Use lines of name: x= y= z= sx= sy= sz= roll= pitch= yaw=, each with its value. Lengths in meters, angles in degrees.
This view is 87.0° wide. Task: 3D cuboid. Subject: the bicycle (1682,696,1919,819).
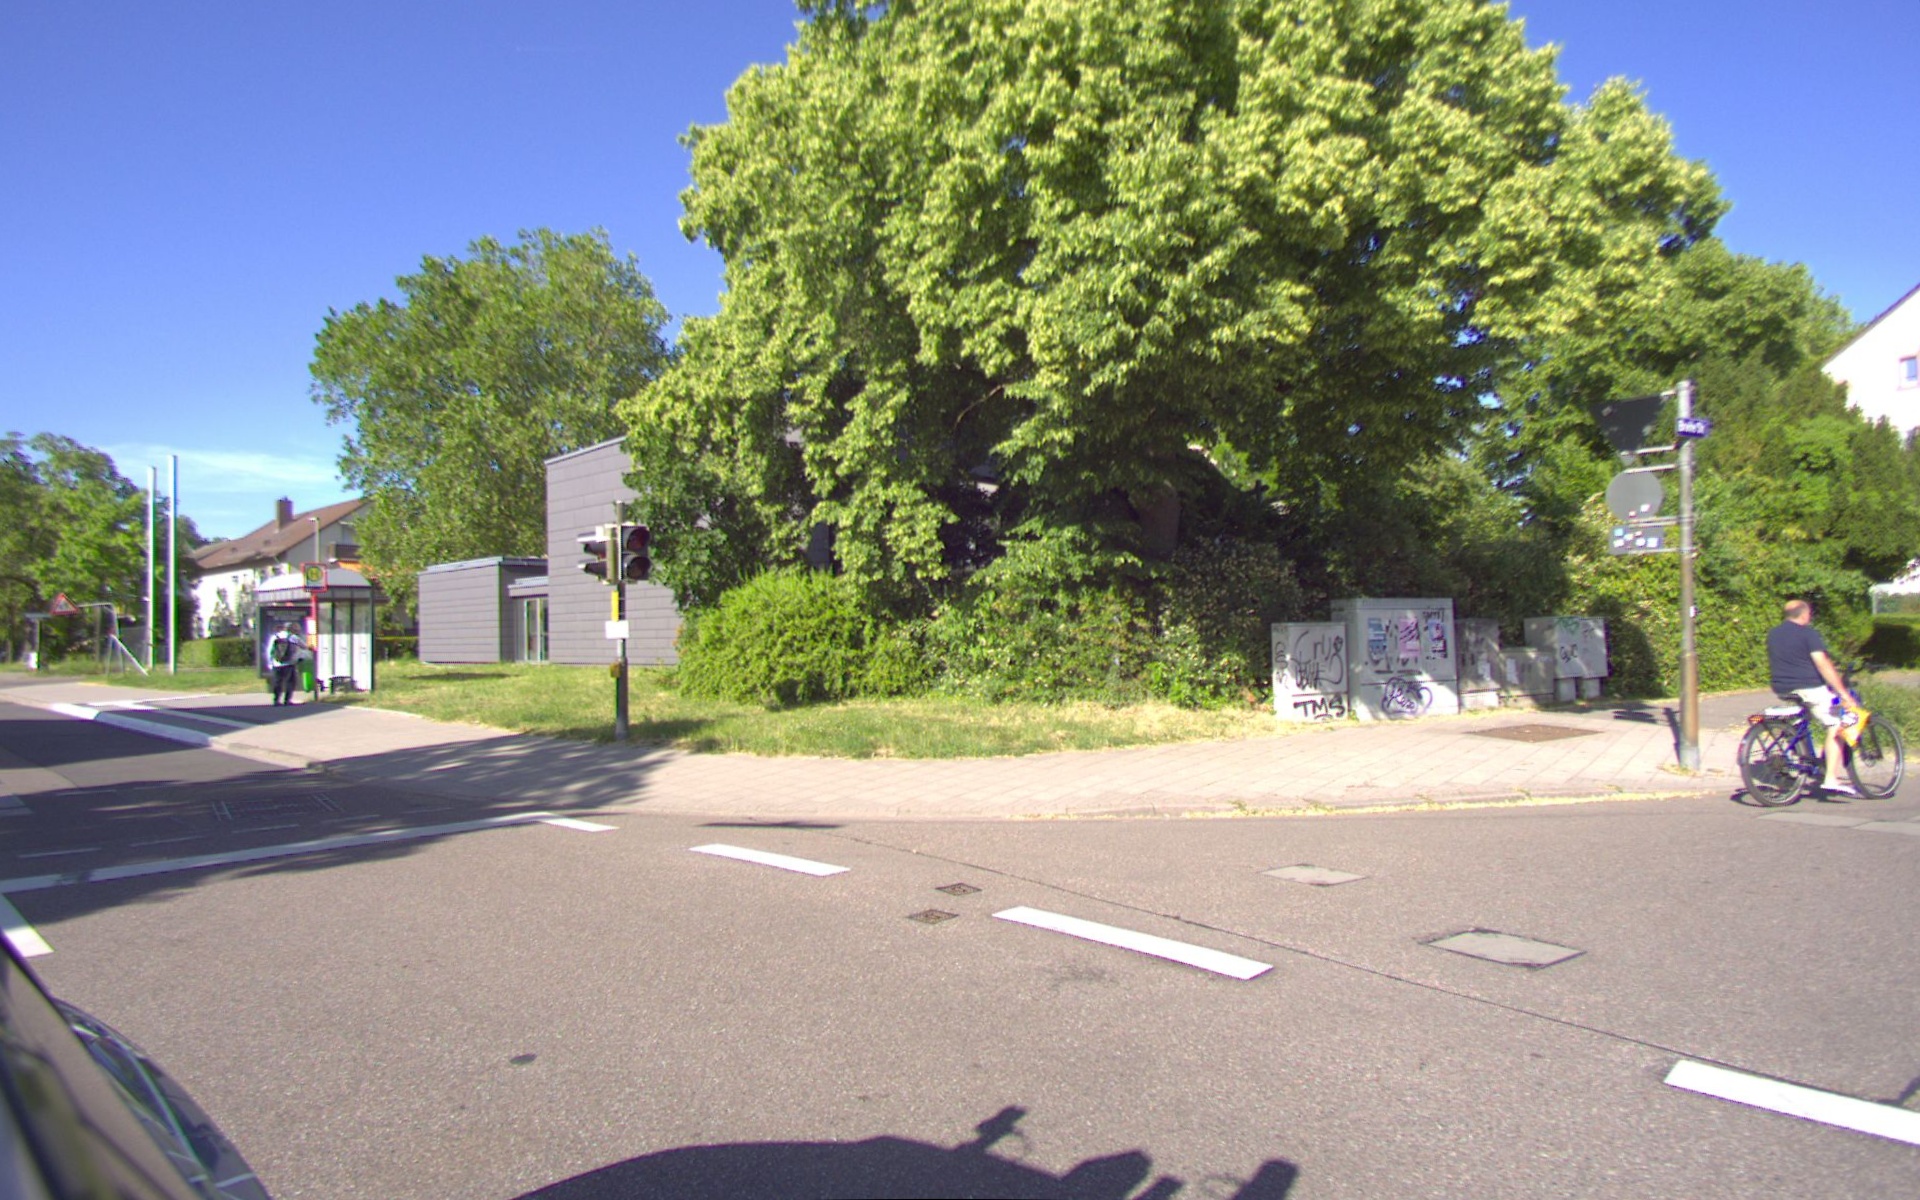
bicycle: x=7.491 y=1.302 z=8.580 sx=2.254 sy=0.947 sz=0.778 roll=0 pitch=-5 yaw=-8

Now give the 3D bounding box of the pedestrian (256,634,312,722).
pedestrian: x=-14.677 y=1.682 z=21.993 sx=0.706 sy=1.816 sz=0.772 roll=-1 pitch=1 yaw=-10

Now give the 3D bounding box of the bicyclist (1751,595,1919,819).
bicyclist: x=7.503 y=0.887 z=8.600 sx=0.839 sy=1.802 sz=0.768 roll=0 pitch=-4 yaw=-8
